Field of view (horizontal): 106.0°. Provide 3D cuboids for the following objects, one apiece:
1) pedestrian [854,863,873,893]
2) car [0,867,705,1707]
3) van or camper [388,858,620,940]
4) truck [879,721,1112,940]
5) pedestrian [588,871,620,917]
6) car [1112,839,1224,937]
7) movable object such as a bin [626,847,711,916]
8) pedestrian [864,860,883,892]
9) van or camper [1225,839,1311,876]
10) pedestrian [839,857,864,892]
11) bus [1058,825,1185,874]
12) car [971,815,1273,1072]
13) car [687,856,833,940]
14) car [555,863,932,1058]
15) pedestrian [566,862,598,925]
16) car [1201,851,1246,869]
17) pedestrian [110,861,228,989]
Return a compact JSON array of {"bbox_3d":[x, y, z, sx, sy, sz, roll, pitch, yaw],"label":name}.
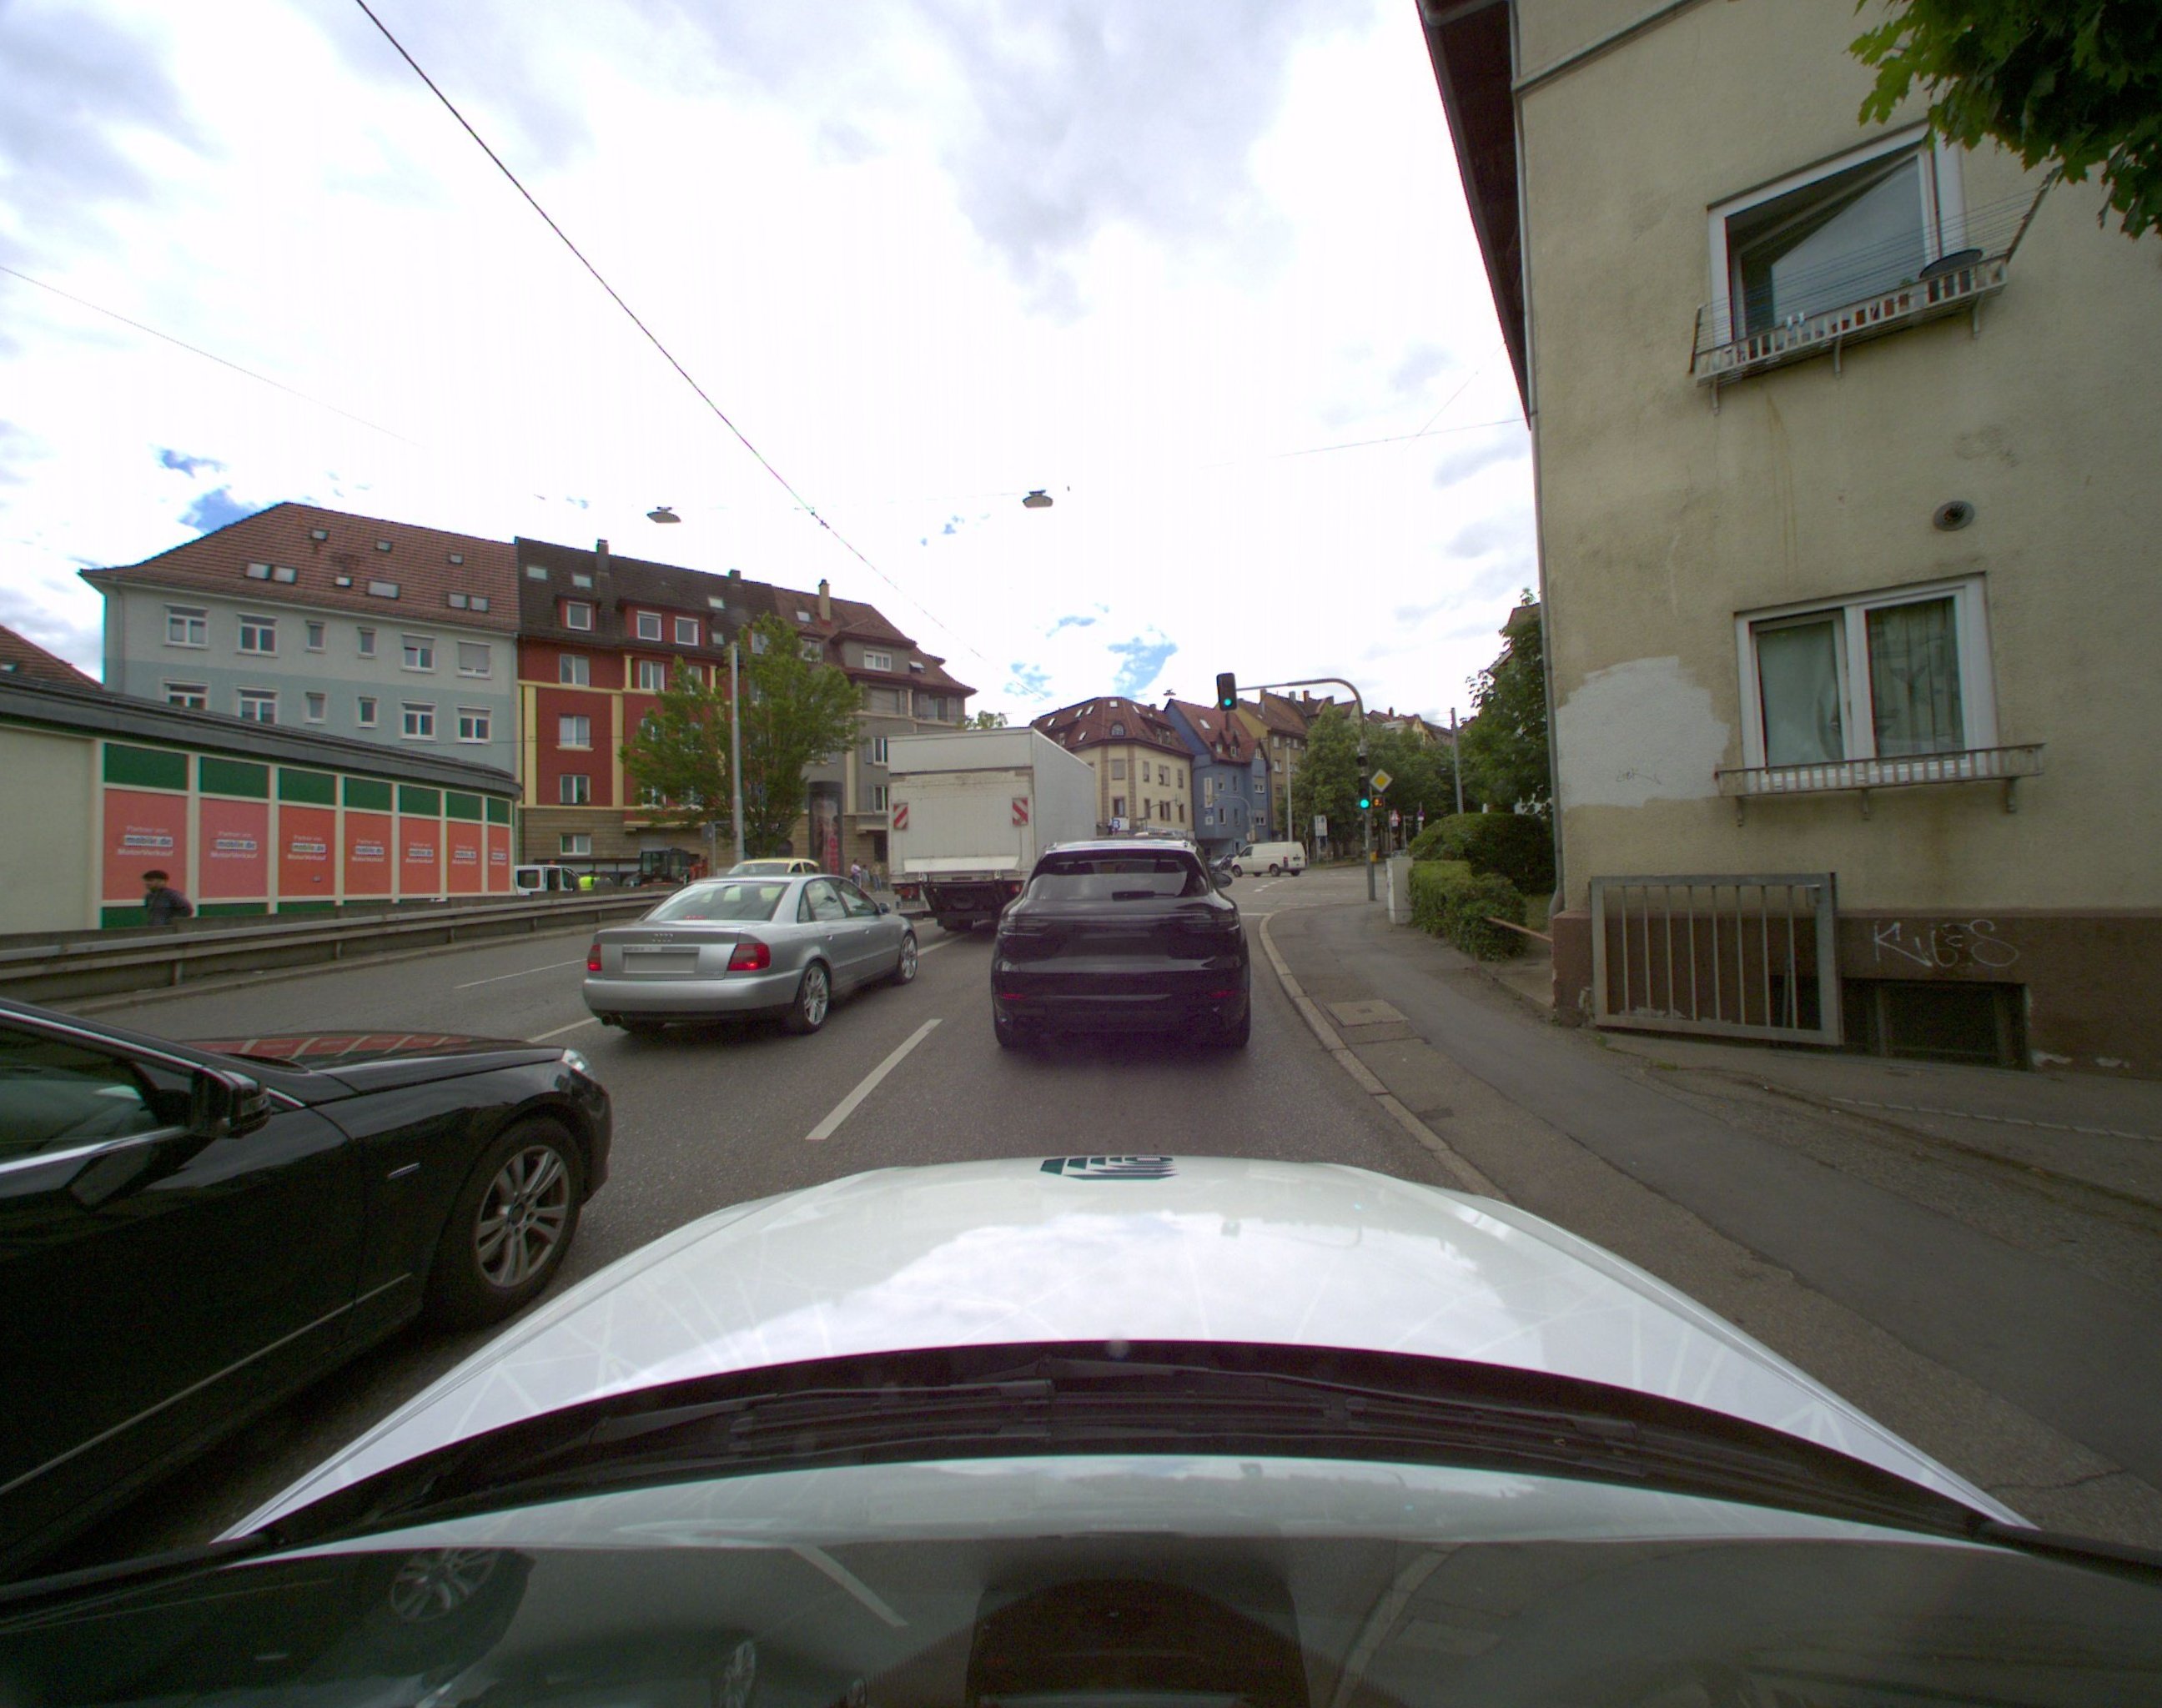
[{"bbox_3d":[-9.971,1.106,37.316,0.569,1.338,0.588,-1,0,31],"label":"pedestrian"},{"bbox_3d":[-2.859,0.799,1.438,1.986,1.429,4.844,-1,0,2],"label":"car"},{"bbox_3d":[-18.991,1.386,27.253,6.028,2.338,2.661,-1,0,-33],"label":"van or camper"},{"bbox_3d":[-1.279,-0.384,17.527,2.708,3.544,8.445,0,0,10],"label":"truck"},{"bbox_3d":[-14.660,1.227,25.034,0.594,1.363,0.630,-2,0,35],"label":"pedestrian"},{"bbox_3d":[1.698,0.556,14.857,1.638,1.556,3.595,-1,-1,12],"label":"car"},{"bbox_3d":[-13.150,0.841,26.143,1.375,2.013,3.524,-2,0,-10],"label":"movable object such as a bin"},{"bbox_3d":[-9.659,1.024,37.881,0.517,1.487,0.657,-1,0,27],"label":"pedestrian"},{"bbox_3d":[10.883,0.212,47.627,2.008,2.014,4.778,0,-1,-35],"label":"van or camper"},{"bbox_3d":[-10.329,0.930,36.637,0.785,1.546,0.743,-1,0,29],"label":"pedestrian"},{"bbox_3d":[2.666,-0.185,60.443,3.178,3.096,12.030,-2,-1,-31],"label":"bus"},{"bbox_3d":[0.347,0.595,7.758,2.024,1.723,4.502,0,0,2],"label":"car"},{"bbox_3d":[-6.583,0.838,17.089,1.592,1.517,3.459,-3,0,1],"label":"car"},{"bbox_3d":[-2.946,0.838,8.203,1.620,1.365,4.136,-2,0,7],"label":"car"},{"bbox_3d":[-16.426,1.284,26.803,0.830,2.013,0.672,-1,0,-37],"label":"pedestrian"},{"bbox_3d":[12.443,0.523,70.958,1.700,1.476,4.244,-1,0,44],"label":"car"},{"bbox_3d":[-12.199,0.920,10.918,0.687,1.637,0.778,-1,0,-5],"label":"pedestrian"}]
